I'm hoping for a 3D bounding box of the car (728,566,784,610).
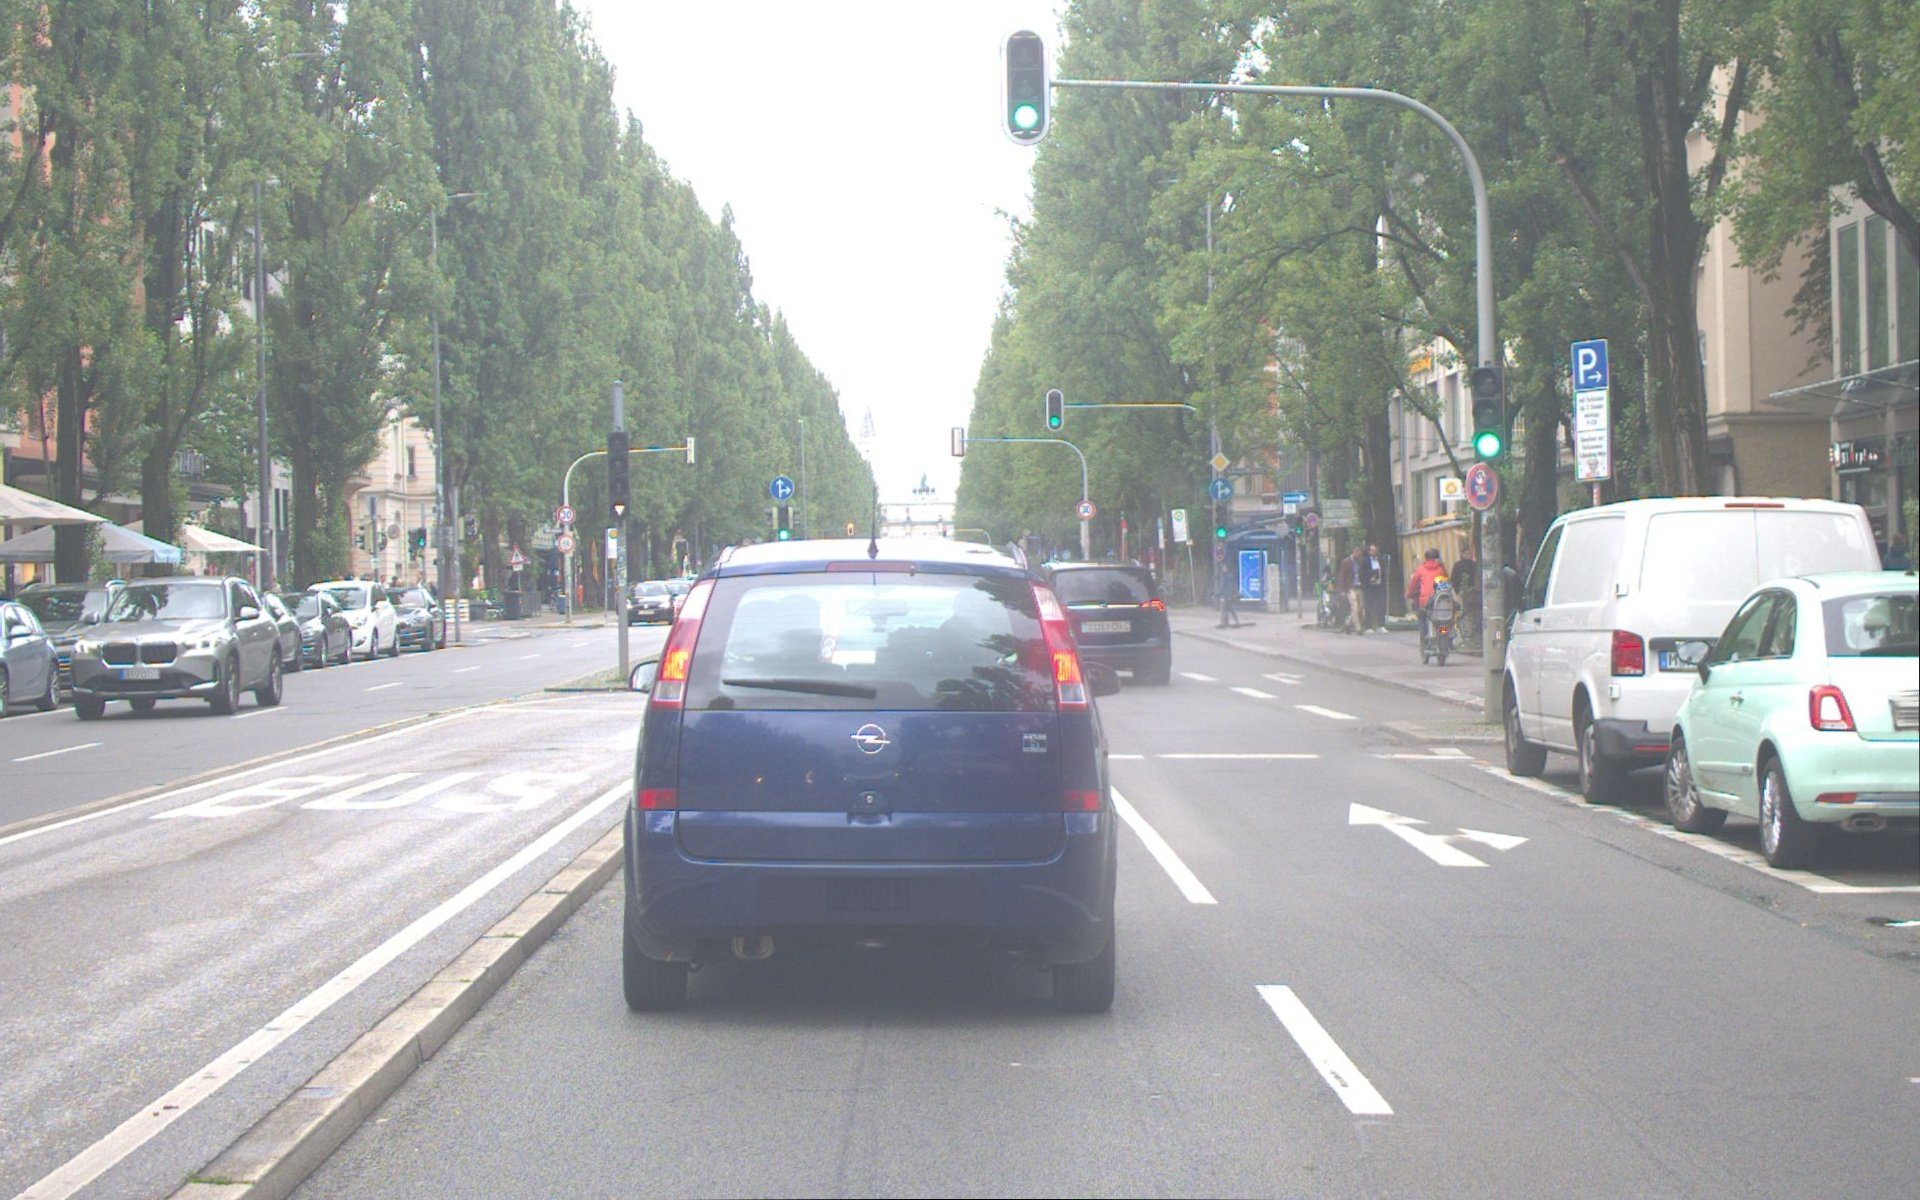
[{"bbox_3d":[-7.041,-0.422,119.031,1.735,1.460,3.365,-1,1,-1],"label":"car"}]

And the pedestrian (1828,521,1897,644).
[{"bbox_3d":[12.542,-0.236,47.802,0.673,1.680,0.759,-2,0,-5],"label":"pedestrian"}]

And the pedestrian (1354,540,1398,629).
[{"bbox_3d":[8.613,-0.327,71.180,0.636,1.820,0.888,1,0,-10],"label":"pedestrian"}]

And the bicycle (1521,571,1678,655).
[{"bbox_3d":[9.650,0.188,51.896,2.227,1.200,0.626,-1,0,-2],"label":"bicycle"}]

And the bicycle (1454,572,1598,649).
[{"bbox_3d":[9.280,0.163,56.415,2.227,1.200,0.626,-1,0,-2],"label":"bicycle"}]

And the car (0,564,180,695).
[{"bbox_3d":[-12.310,0.378,47.860,1.866,1.660,4.401,-2,1,-1],"label":"car"}]

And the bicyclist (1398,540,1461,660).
[{"bbox_3d":[6.958,-0.005,50.971,0.767,1.760,0.885,-1,0,-1],"label":"bicyclist"}]

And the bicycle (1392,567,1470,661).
[{"bbox_3d":[6.964,0.192,50.944,0.772,1.344,2.449,-1,1,-1],"label":"bicycle"}]

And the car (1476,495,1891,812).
[{"bbox_3d":[4.805,0.299,23.510,1.787,1.939,4.731,0,1,-1],"label":"car"}]

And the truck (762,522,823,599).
[{"bbox_3d":[-7.448,-1.758,153.440,2.383,3.335,7.111,-1,1,-1],"label":"truck"}]

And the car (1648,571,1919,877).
[{"bbox_3d":[4.815,0.590,18.467,1.541,1.487,3.523,0,0,0],"label":"car"}]

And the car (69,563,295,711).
[{"bbox_3d":[-9.304,0.403,41.456,1.770,1.629,4.456,-2,1,-1],"label":"car"}]

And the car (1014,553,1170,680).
[{"bbox_3d":[1.720,0.187,45.921,1.896,1.616,4.000,0,1,0],"label":"car"}]

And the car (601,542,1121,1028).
[{"bbox_3d":[-0.331,0.570,13.040,1.671,1.563,4.000,0,1,0],"label":"car"}]

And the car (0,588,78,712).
[{"bbox_3d":[-12.225,0.622,42.146,1.733,1.421,4.143,-2,1,-1],"label":"car"}]

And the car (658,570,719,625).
[{"bbox_3d":[-10.216,-0.117,129.577,1.993,2.007,4.000,-1,1,-1],"label":"car"}]

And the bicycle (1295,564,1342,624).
[{"bbox_3d":[8.342,-0.150,80.140,0.772,1.344,2.449,-1,1,-1],"label":"bicycle"}]

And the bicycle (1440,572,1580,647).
[{"bbox_3d":[9.239,0.154,57.794,2.227,1.200,0.626,-1,0,-2],"label":"bicycle"}]

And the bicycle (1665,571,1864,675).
[{"bbox_3d":[9.720,0.271,41.553,2.227,1.200,0.626,-1,0,-2],"label":"bicycle"}]

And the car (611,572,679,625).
[{"bbox_3d":[-10.336,-0.068,112.889,1.866,1.660,4.120,-1,1,-1],"label":"car"}]

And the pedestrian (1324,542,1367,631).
[{"bbox_3d":[7.941,-0.280,70.789,0.636,1.820,0.888,1,0,-10],"label":"pedestrian"}]

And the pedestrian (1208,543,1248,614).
[{"bbox_3d":[6.682,-0.534,85.781,0.882,1.760,0.770,-1,0,-3],"label":"pedestrian"}]

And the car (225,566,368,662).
[{"bbox_3d":[-12.434,0.238,64.622,1.866,1.660,4.120,-2,1,-1],"label":"car"}]

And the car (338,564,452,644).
[{"bbox_3d":[-12.642,0.071,77.158,1.866,1.660,4.120,-2,1,-1],"label":"car"}]

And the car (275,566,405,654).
[{"bbox_3d":[-12.562,0.177,69.883,1.866,1.660,4.120,-2,1,-1],"label":"car"}]

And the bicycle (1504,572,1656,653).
[{"bbox_3d":[9.644,0.184,53.503,2.227,1.200,0.626,-1,0,-2],"label":"bicycle"}]

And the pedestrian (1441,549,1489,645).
[{"bbox_3d":[9.722,-0.061,66.185,0.636,1.820,0.888,1,0,-10],"label":"pedestrian"}]

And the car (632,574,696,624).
[{"bbox_3d":[-10.307,-0.060,119.906,1.866,1.660,4.120,-1,1,-1],"label":"car"}]

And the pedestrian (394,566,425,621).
[{"bbox_3d":[-17.656,-0.207,110.244,0.767,1.760,0.885,-1,1,-25],"label":"pedestrian"}]

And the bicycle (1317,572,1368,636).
[{"bbox_3d":[8.360,0.074,75.205,0.772,1.344,2.449,-1,1,-1],"label":"bicycle"}]
